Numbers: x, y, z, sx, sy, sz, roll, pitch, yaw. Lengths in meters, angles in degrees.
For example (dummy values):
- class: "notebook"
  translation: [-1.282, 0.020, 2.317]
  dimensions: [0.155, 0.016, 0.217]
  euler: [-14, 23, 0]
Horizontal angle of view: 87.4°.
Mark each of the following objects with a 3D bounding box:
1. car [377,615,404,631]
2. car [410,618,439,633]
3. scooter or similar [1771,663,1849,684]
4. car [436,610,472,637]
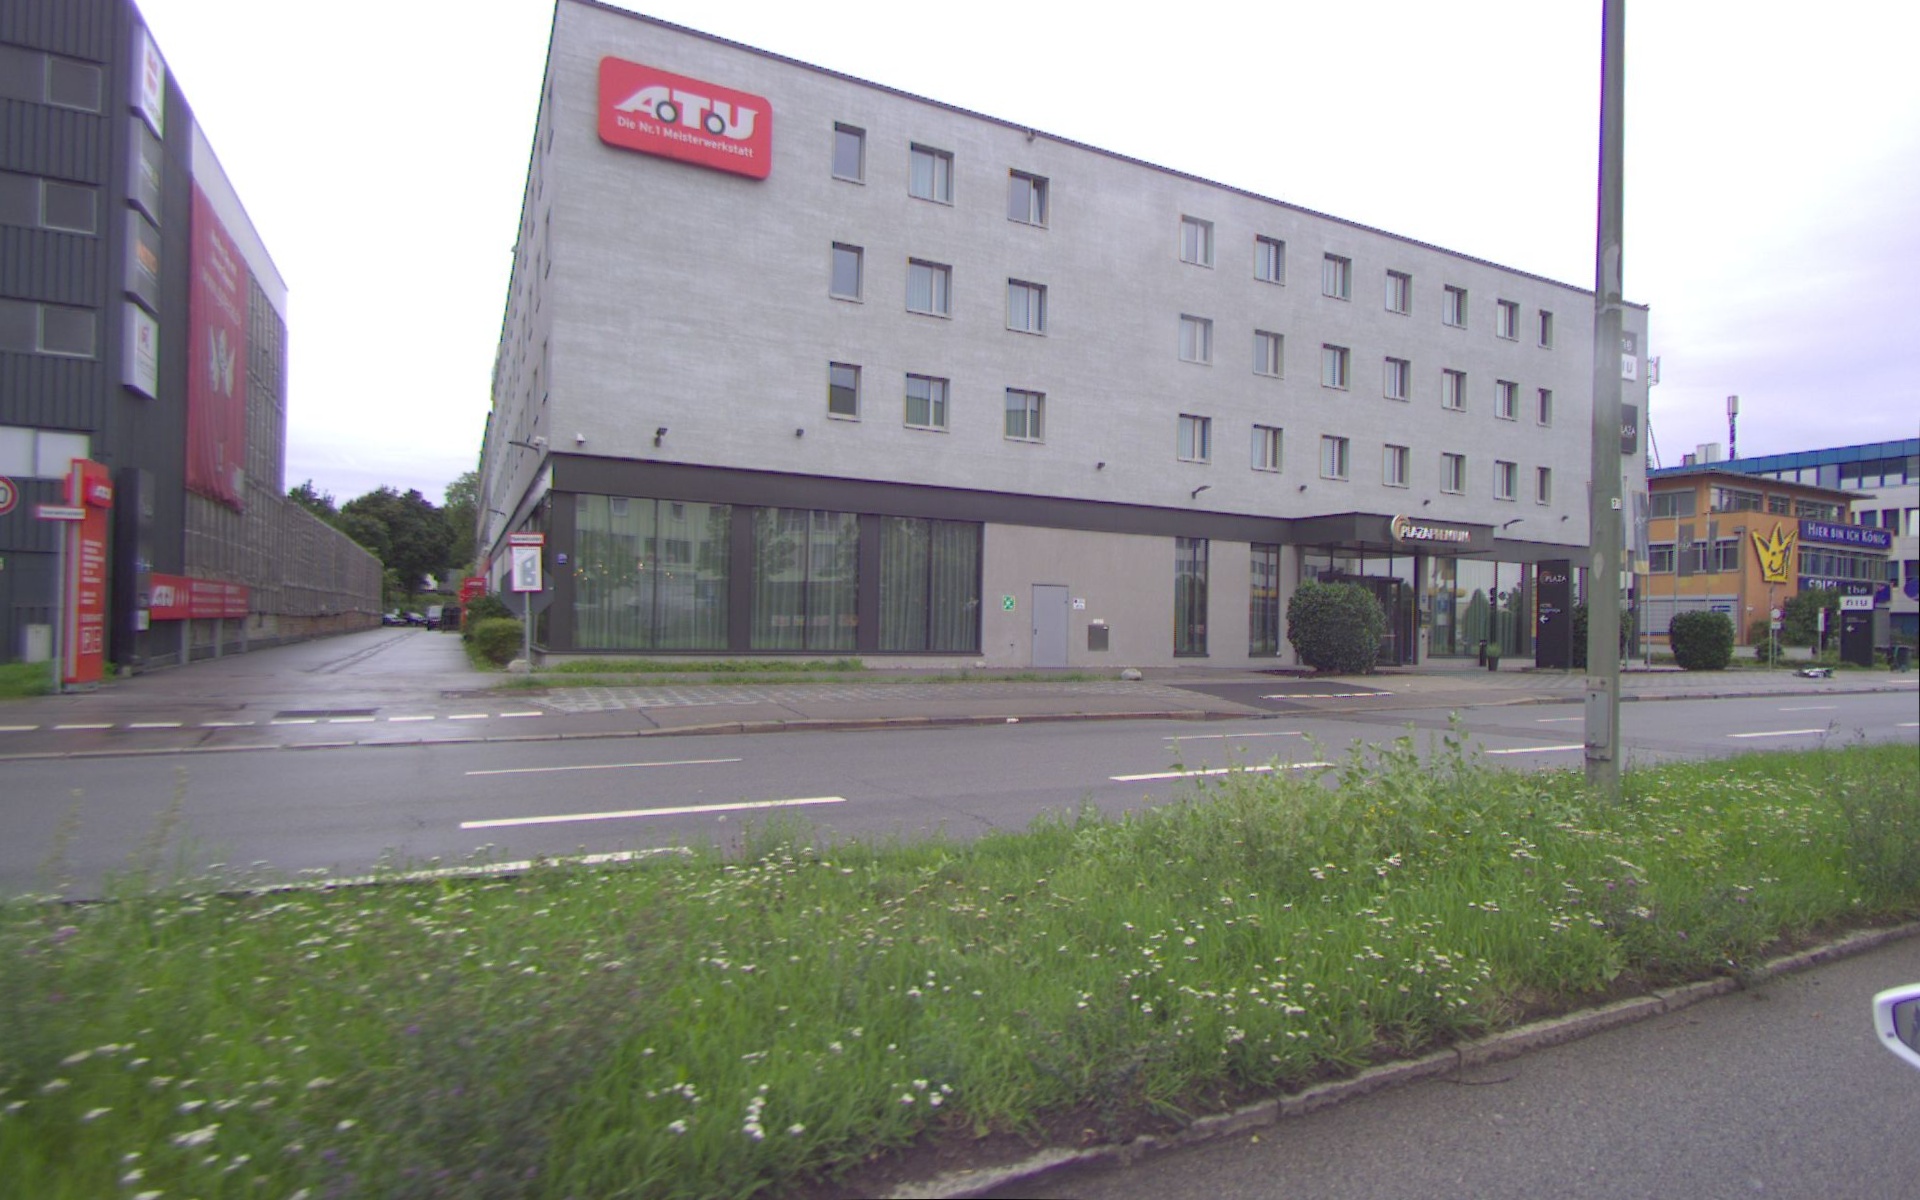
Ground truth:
- class: "car"
  translation: [-62.199, 2.504, 109.691]
  dimensions: [1.982, 1.606, 3.957]
  euler: [2, -1, -38]
- class: "car"
  translation: [-60.011, 2.834, 112.531]
  dimensions: [1.985, 1.606, 3.952]
  euler: [2, -1, -41]
- class: "scooter or similar"
  translation: [30.671, 2.655, 36.240]
  dimensions: [2.294, 0.592, 1.461]
  euler: [5, -4, -30]
- class: "car"
  translation: [-35.573, 1.614, 70.587]
  dimensions: [1.977, 1.817, 3.967]
  euler: [2, -1, -31]
